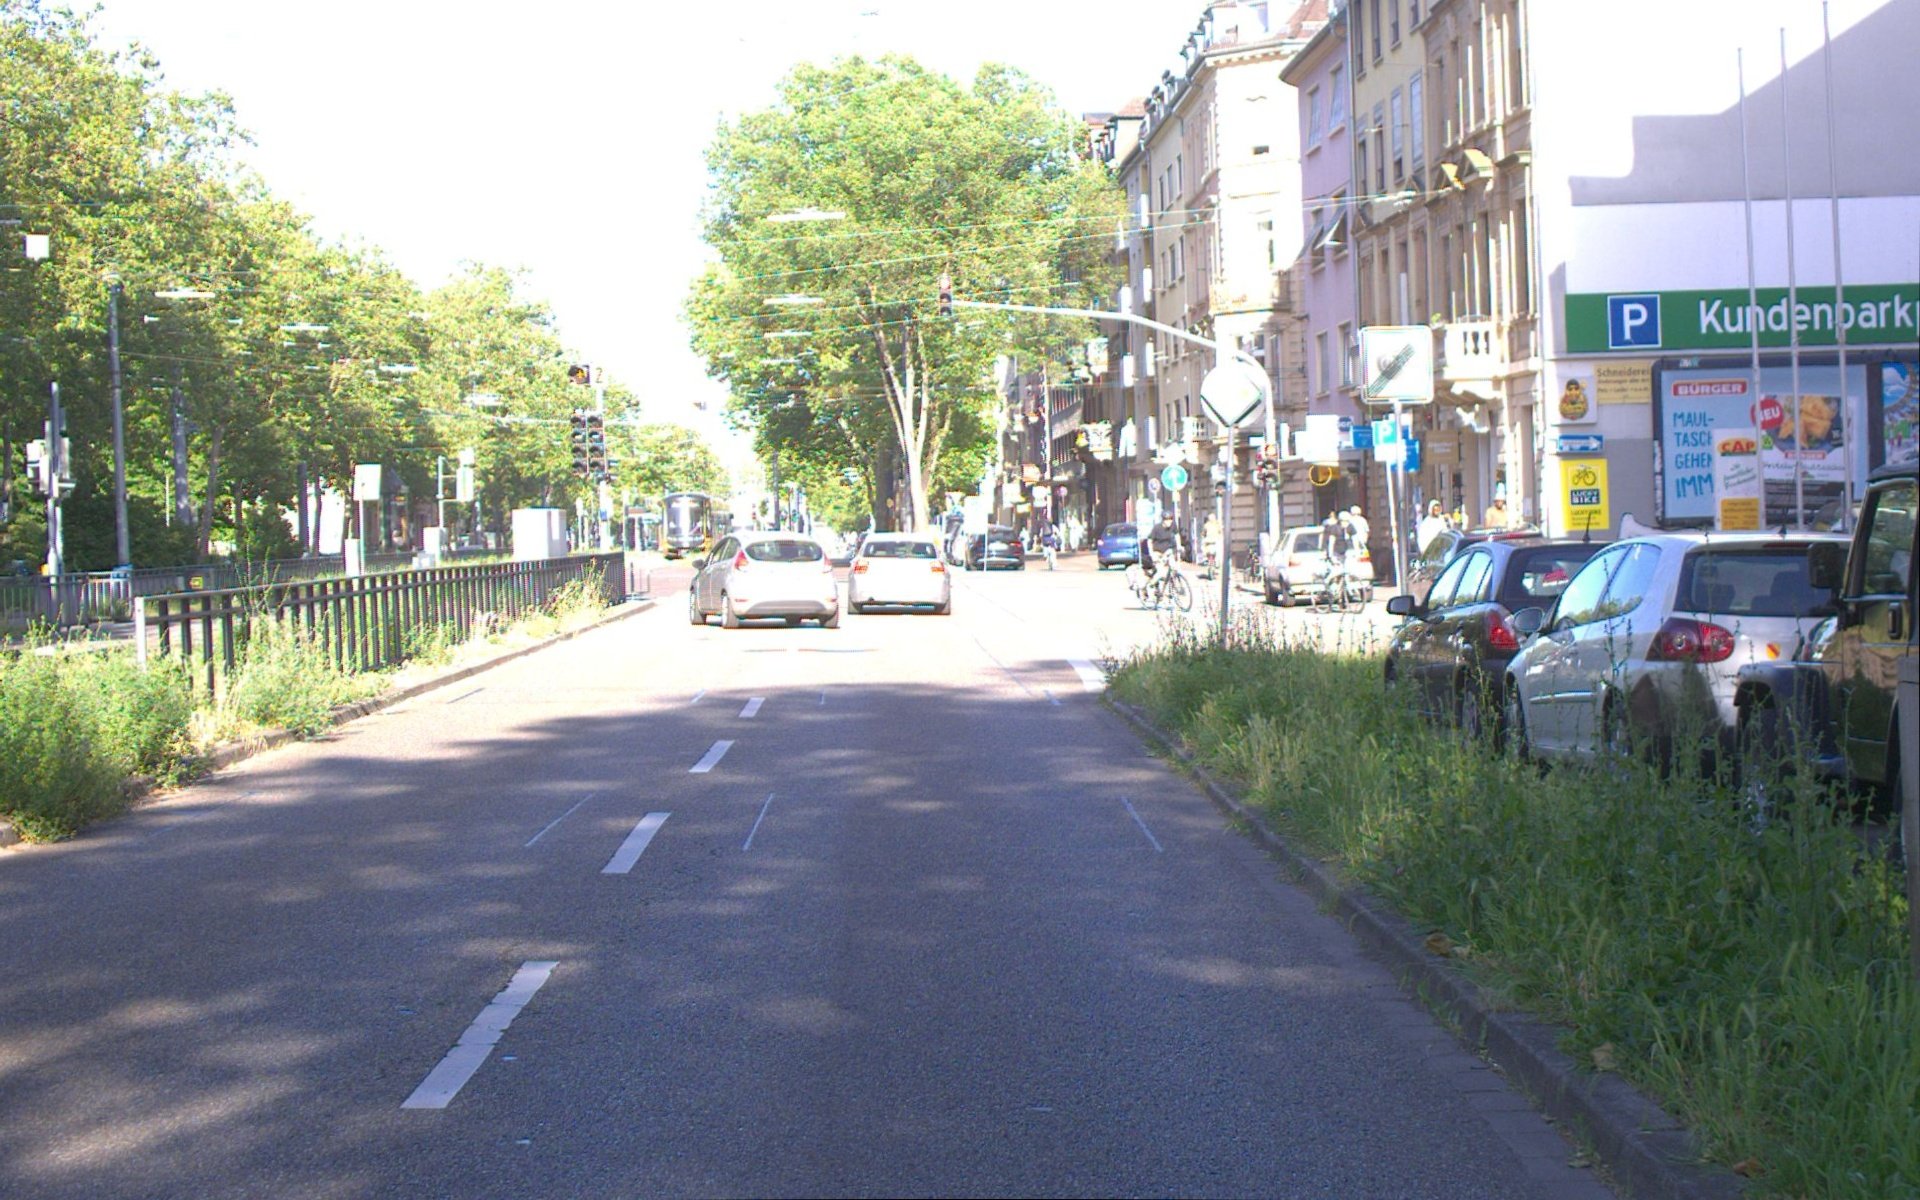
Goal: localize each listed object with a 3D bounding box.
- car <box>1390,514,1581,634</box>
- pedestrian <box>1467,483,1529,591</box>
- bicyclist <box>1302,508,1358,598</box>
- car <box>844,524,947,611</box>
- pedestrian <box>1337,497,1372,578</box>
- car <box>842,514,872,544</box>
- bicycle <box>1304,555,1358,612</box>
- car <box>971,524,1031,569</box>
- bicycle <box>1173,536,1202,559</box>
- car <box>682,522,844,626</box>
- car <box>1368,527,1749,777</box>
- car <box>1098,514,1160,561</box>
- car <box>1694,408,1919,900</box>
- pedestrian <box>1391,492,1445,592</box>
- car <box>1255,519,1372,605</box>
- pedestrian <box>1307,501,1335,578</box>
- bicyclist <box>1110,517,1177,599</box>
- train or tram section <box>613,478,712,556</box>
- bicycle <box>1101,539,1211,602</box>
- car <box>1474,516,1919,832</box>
[{"bbox_3d":[7.313,-0.399,48.243,1.833,1.482,4.734,-4,1,0],"label":"car"},{"bbox_3d":[9.292,-1.091,59.387,0.760,1.835,0.748,-2,1,-18],"label":"pedestrian"},{"bbox_3d":[6.242,-0.799,58.009,0.676,1.441,1.182,-5,1,-1],"label":"bicyclist"},{"bbox_3d":[-1.139,-0.592,60.444,1.740,1.462,4.000,0,1,-1],"label":"car"},{"bbox_3d":[8.794,-1.395,76.639,0.673,1.800,0.531,-2,1,-1],"label":"pedestrian"},{"bbox_3d":[-7.034,-4.850,234.953,1.993,2.007,4.000,-1,1,-1],"label":"car"},{"bbox_3d":[6.256,-0.284,58.035,0.649,0.917,1.918,-1,1,-1],"label":"bicycle"},{"bbox_3d":[1.323,-1.743,111.203,1.735,1.428,3.678,0,1,-2],"label":"car"},{"bbox_3d":[7.772,-1.800,117.437,0.754,0.768,1.946,-1,1,-2],"label":"bicycle"},{"bbox_3d":[-2.997,-0.415,51.552,1.609,1.462,3.891,-1,1,-16],"label":"car"},{"bbox_3d":[3.919,0.282,23.148,1.640,1.512,4.001,1,1,-3],"label":"car"},{"bbox_3d":[5.523,-2.054,112.433,1.735,1.514,3.637,0,1,-2],"label":"car"},{"bbox_3d":[4.330,0.138,13.729,1.864,1.758,4.000,-2,1,-1],"label":"car"},{"bbox_3d":[8.129,-1.027,60.992,0.760,1.749,0.513,-2,1,-21],"label":"pedestrian"},{"bbox_3d":[6.483,-0.730,63.345,1.562,1.411,4.004,-5,1,-1],"label":"car"},{"bbox_3d":[8.061,-1.343,76.750,0.549,1.702,0.388,-1,1,2],"label":"pedestrian"},{"bbox_3d":[3.321,-0.759,62.142,0.745,1.457,0.951,-1,1,-45],"label":"bicyclist"},{"bbox_3d":[-15.715,-4.414,183.034,3.969,3.852,17.490,-1,1,-1],"label":"train or tram section"},{"bbox_3d":[3.520,-0.525,61.944,0.757,1.098,1.952,-3,2,-44],"label":"bicycle"},{"bbox_3d":[4.087,0.326,18.761,1.738,1.512,4.001,1,1,-3],"label":"car"}]
